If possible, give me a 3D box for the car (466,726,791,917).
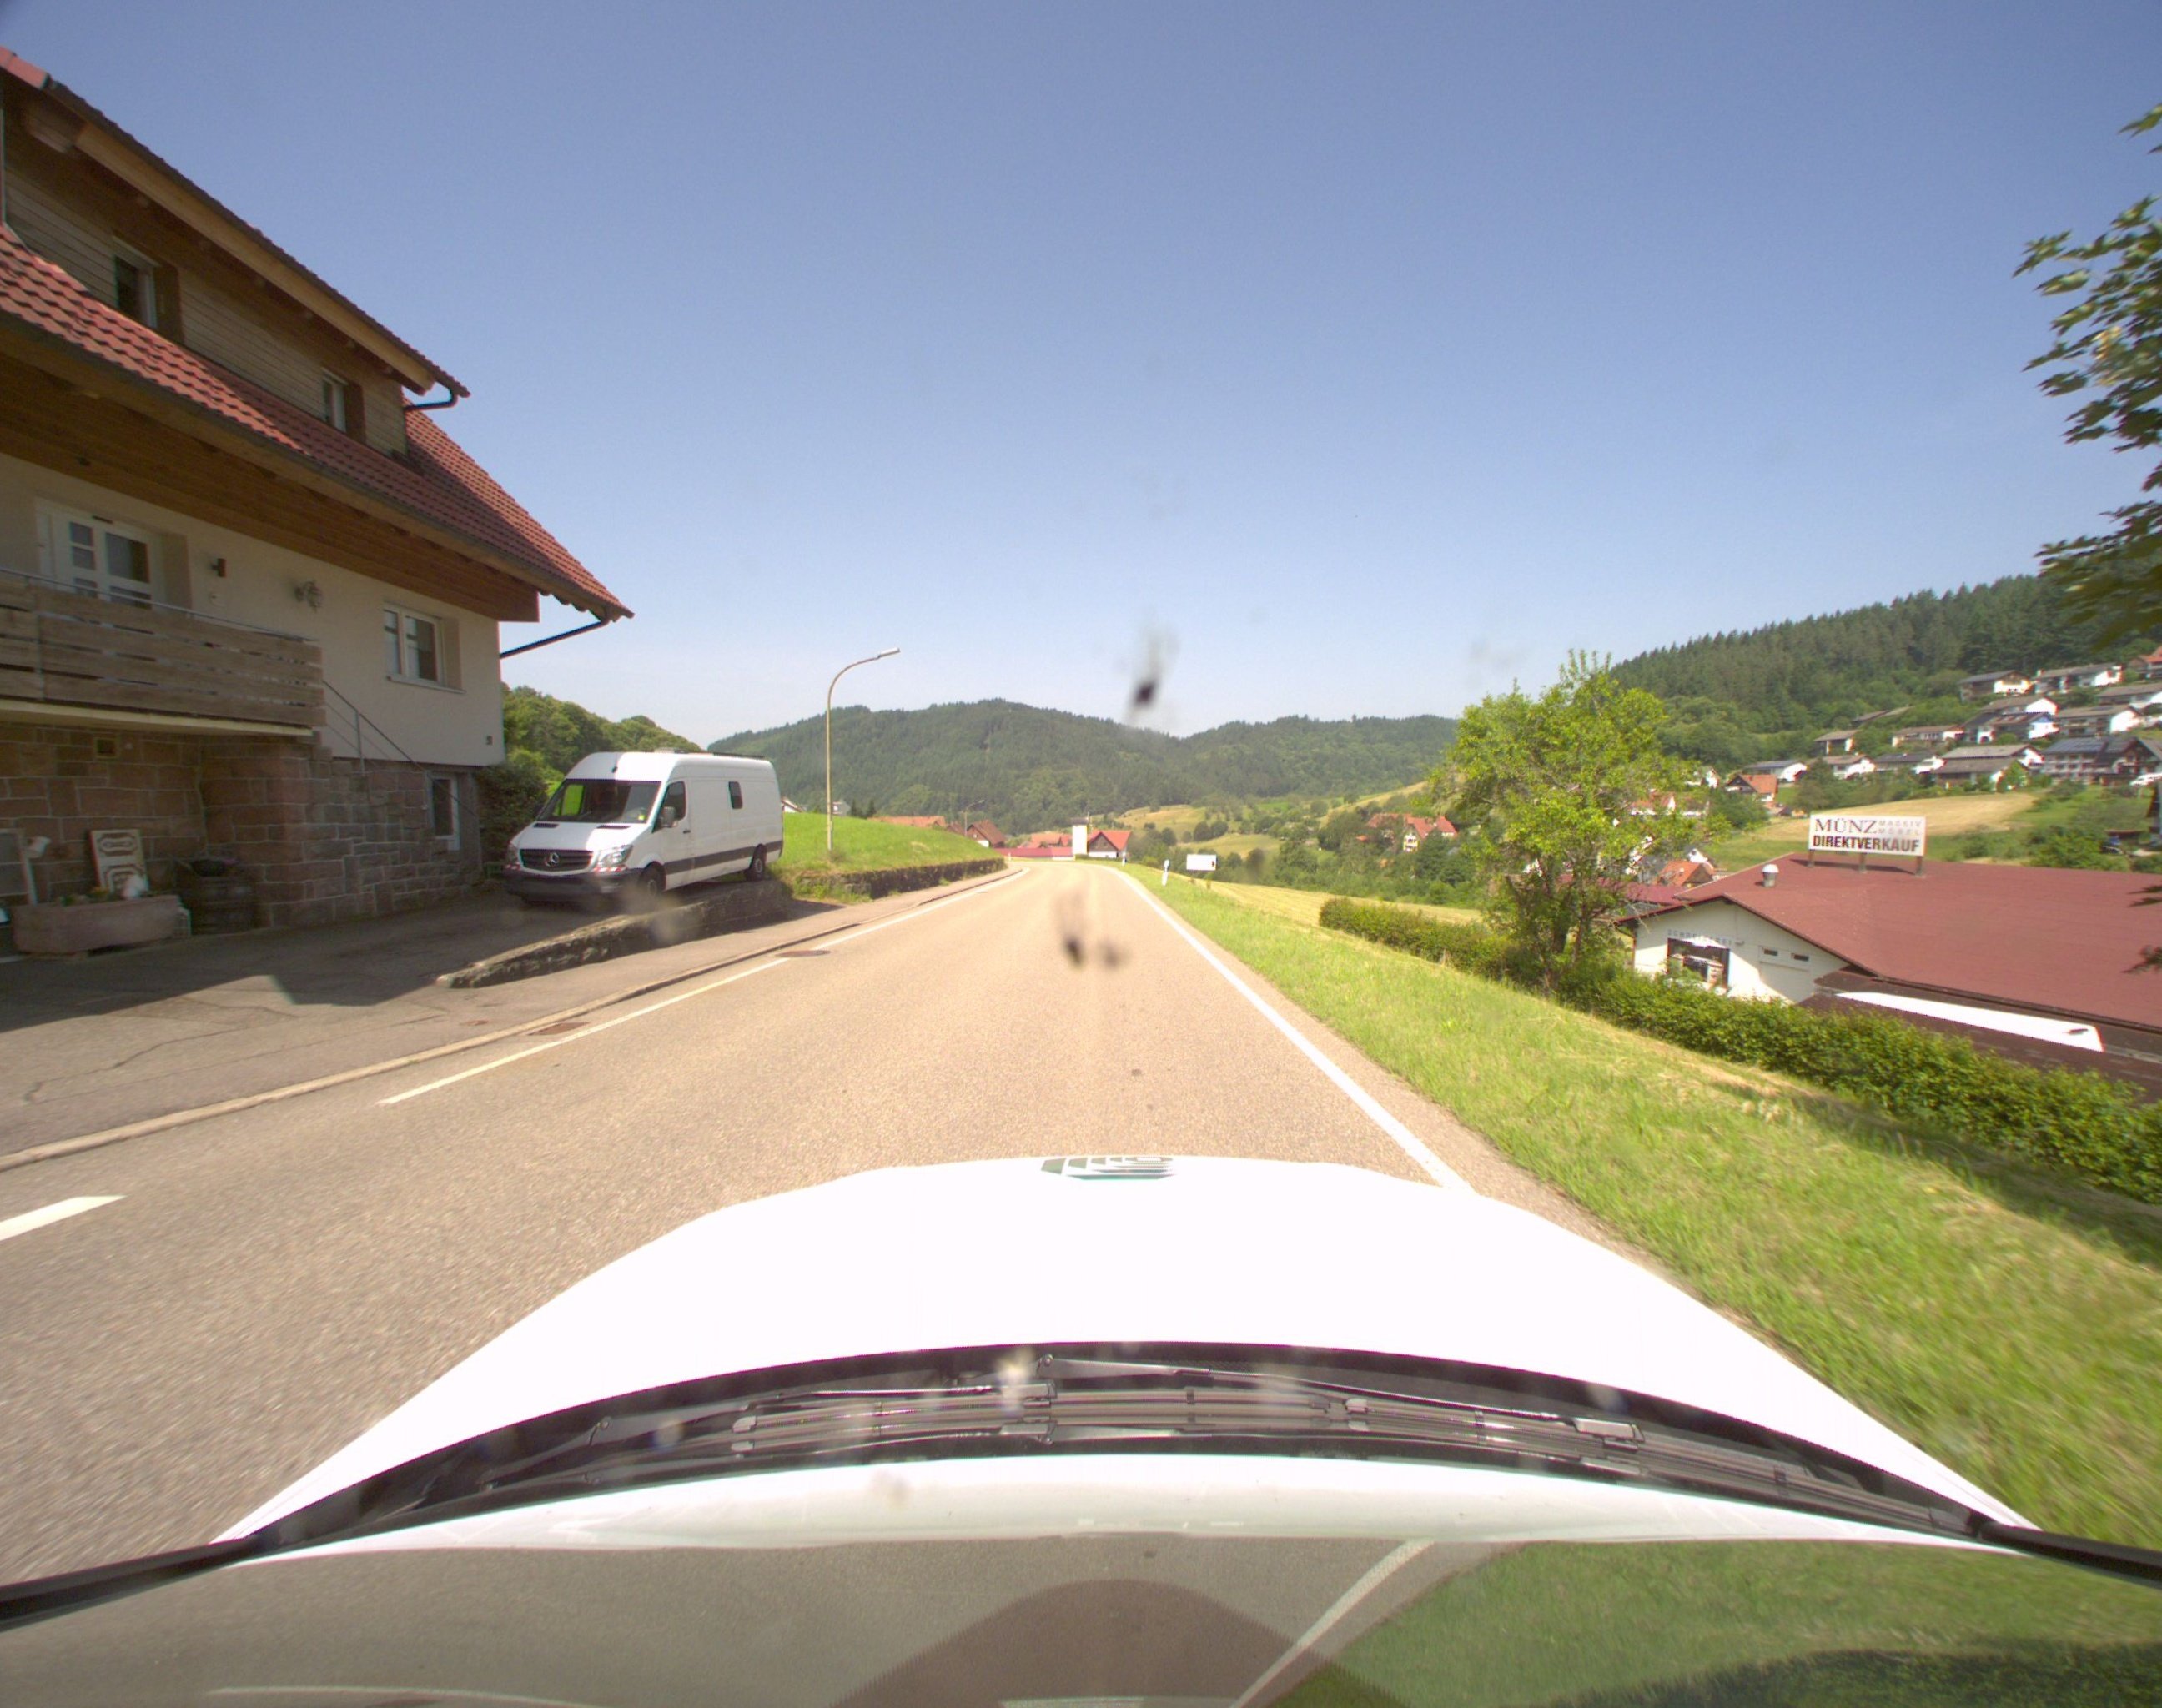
[{"bbox_3d":[-7.768,-0.683,15.288,2.061,2.687,7.176,2,4,0],"label":"car"}]
